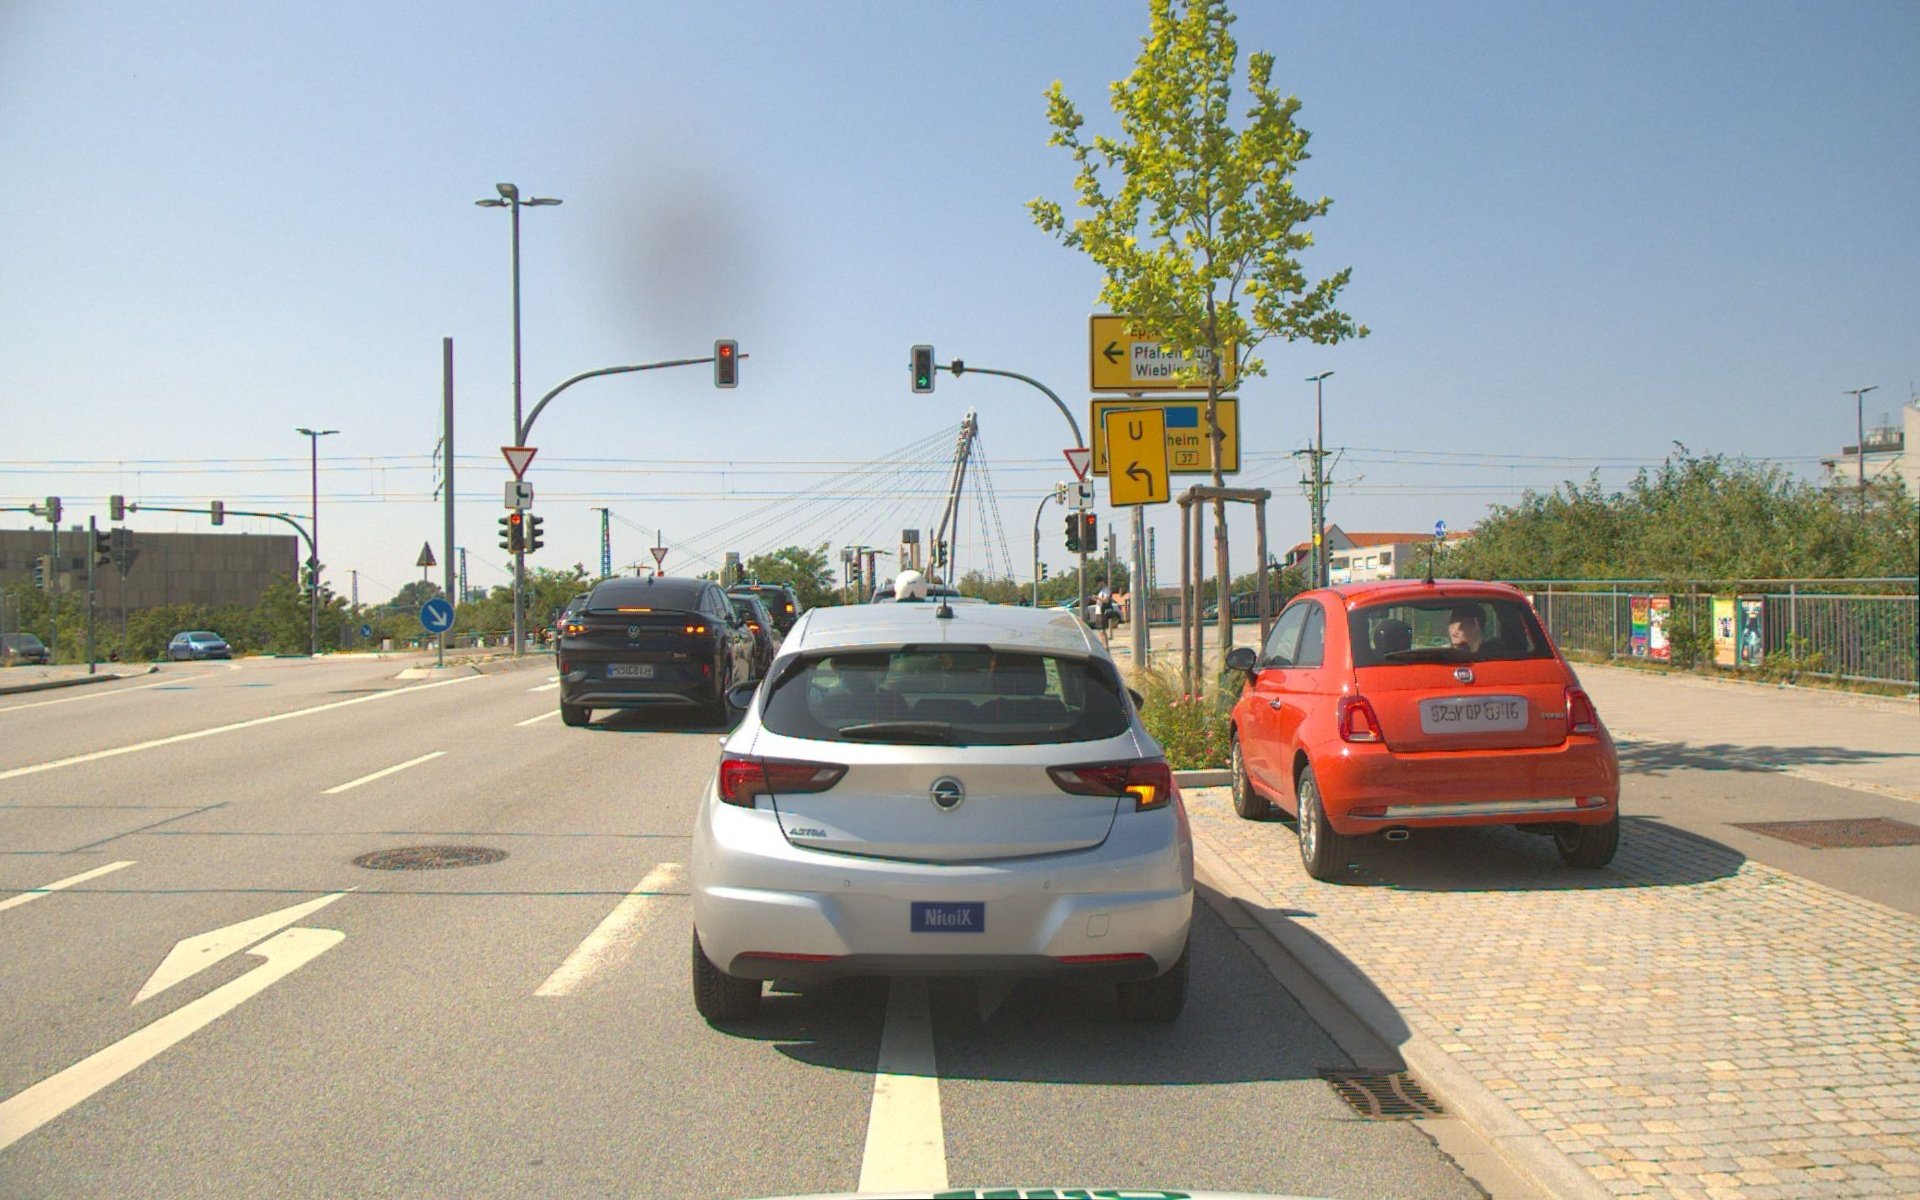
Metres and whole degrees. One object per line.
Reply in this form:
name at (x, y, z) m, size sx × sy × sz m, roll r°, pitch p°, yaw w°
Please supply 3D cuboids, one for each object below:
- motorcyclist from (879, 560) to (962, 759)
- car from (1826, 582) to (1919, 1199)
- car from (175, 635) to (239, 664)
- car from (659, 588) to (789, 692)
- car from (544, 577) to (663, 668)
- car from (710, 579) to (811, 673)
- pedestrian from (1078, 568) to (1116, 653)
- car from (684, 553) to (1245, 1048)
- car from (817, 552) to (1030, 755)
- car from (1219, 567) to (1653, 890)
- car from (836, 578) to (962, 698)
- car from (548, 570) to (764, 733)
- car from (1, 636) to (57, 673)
motorcyclist at (-0.291, 0.426, 12.182) m, size 0.570 × 1.413 × 0.706 m, roll 1°, pitch -1°, yaw -2°
car at (2.931, 0.648, 1.932) m, size 1.627 × 1.451 × 3.999 m, roll -2°, pitch 0°, yaw -1°
car at (-36.246, 2.385, 79.543) m, size 1.806 × 1.354 × 3.941 m, roll 1°, pitch -2°, yaw -40°
car at (-3.578, 0.581, 25.580) m, size 1.543 × 1.459 × 3.785 m, roll 1°, pitch 0°, yaw -2°
car at (-6.583, 0.398, 30.889) m, size 1.565 × 1.574 × 3.760 m, roll 1°, pitch 0°, yaw -3°
car at (-3.739, 0.472, 31.516) m, size 1.616 × 1.643 × 3.818 m, roll 1°, pitch 0°, yaw -3°
pedestrian at (3.098, 0.234, 37.473) m, size 0.634 × 1.868 × 0.797 m, roll -4°, pitch 0°, yaw -3°
car at (-0.087, 0.629, 7.083) m, size 1.708 × 1.503 × 3.997 m, roll 1°, pitch 0°, yaw -3°
car at (-0.370, 0.473, 17.549) m, size 1.953 × 1.852 × 4.401 m, roll 1°, pitch 1°, yaw -1°
car at (2.596, 0.616, 9.787) m, size 1.577 × 1.522 × 3.352 m, roll -2°, pitch 0°, yaw 0°
car at (-0.855, 0.495, 24.627) m, size 1.689 × 1.591 × 4.000 m, roll 1°, pitch 1°, yaw -1°
car at (-3.416, 0.543, 19.378) m, size 1.765 × 1.670 × 4.365 m, roll 1°, pitch 0°, yaw -1°
car at (-41.200, 2.392, 73.171) m, size 1.662 × 1.502 × 3.358 m, roll -1°, pitch 1°, yaw -39°
